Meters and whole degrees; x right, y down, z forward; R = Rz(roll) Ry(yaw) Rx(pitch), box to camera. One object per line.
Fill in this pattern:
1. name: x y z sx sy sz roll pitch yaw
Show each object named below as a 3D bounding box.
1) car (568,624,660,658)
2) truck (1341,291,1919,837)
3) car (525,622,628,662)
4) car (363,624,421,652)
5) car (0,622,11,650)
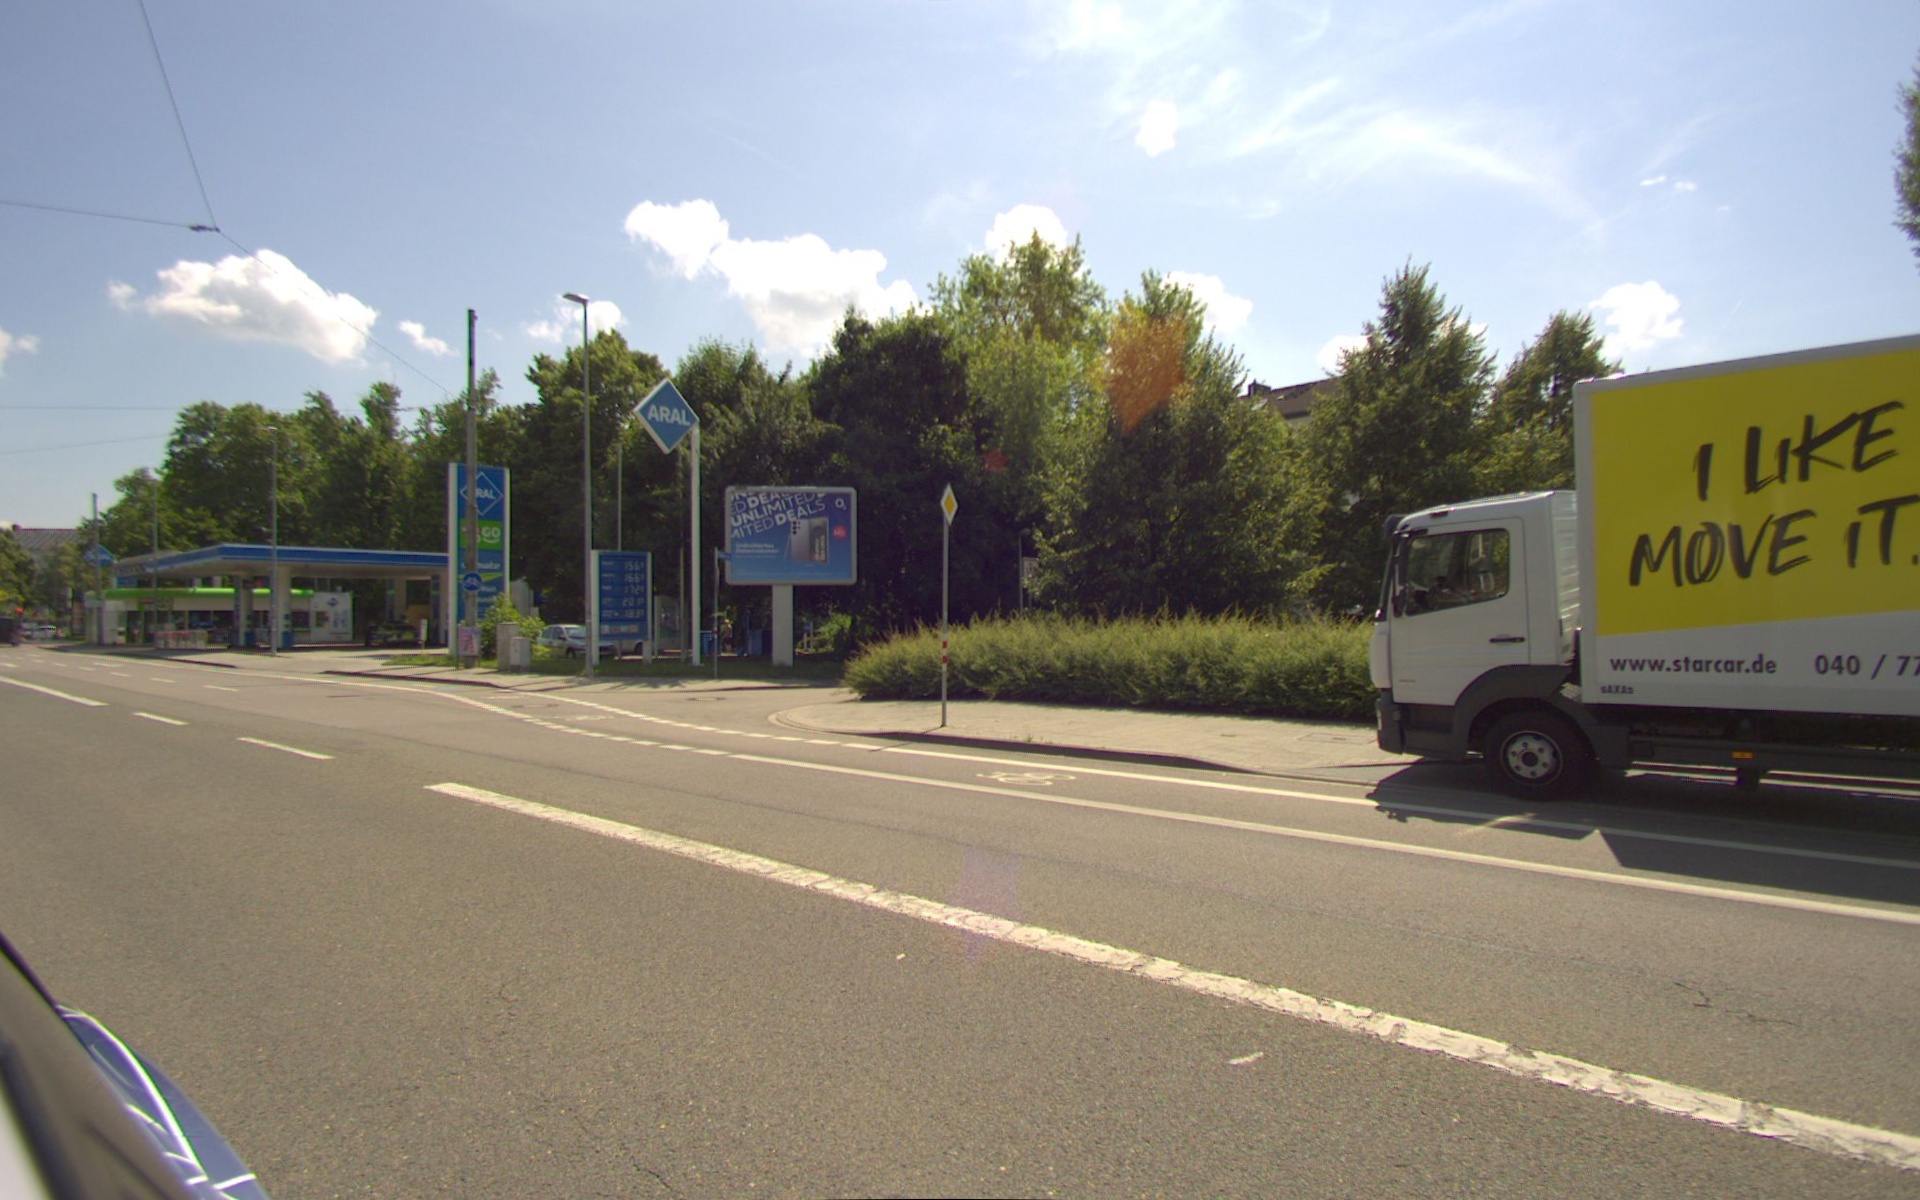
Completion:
1. car: -16.714 1.941 48.908 3.931 1.556 1.825 0 -2 -30
2. truck: 7.459 -0.279 7.469 8.166 3.575 2.802 -2 1 41
3. car: -13.729 1.485 36.129 3.998 1.347 1.794 -2 -2 41
4. car: -35.692 2.362 63.531 3.996 1.683 1.825 -2 -2 39
5. car: -74.631 2.792 77.926 3.999 2.162 1.972 -2 -2 42
